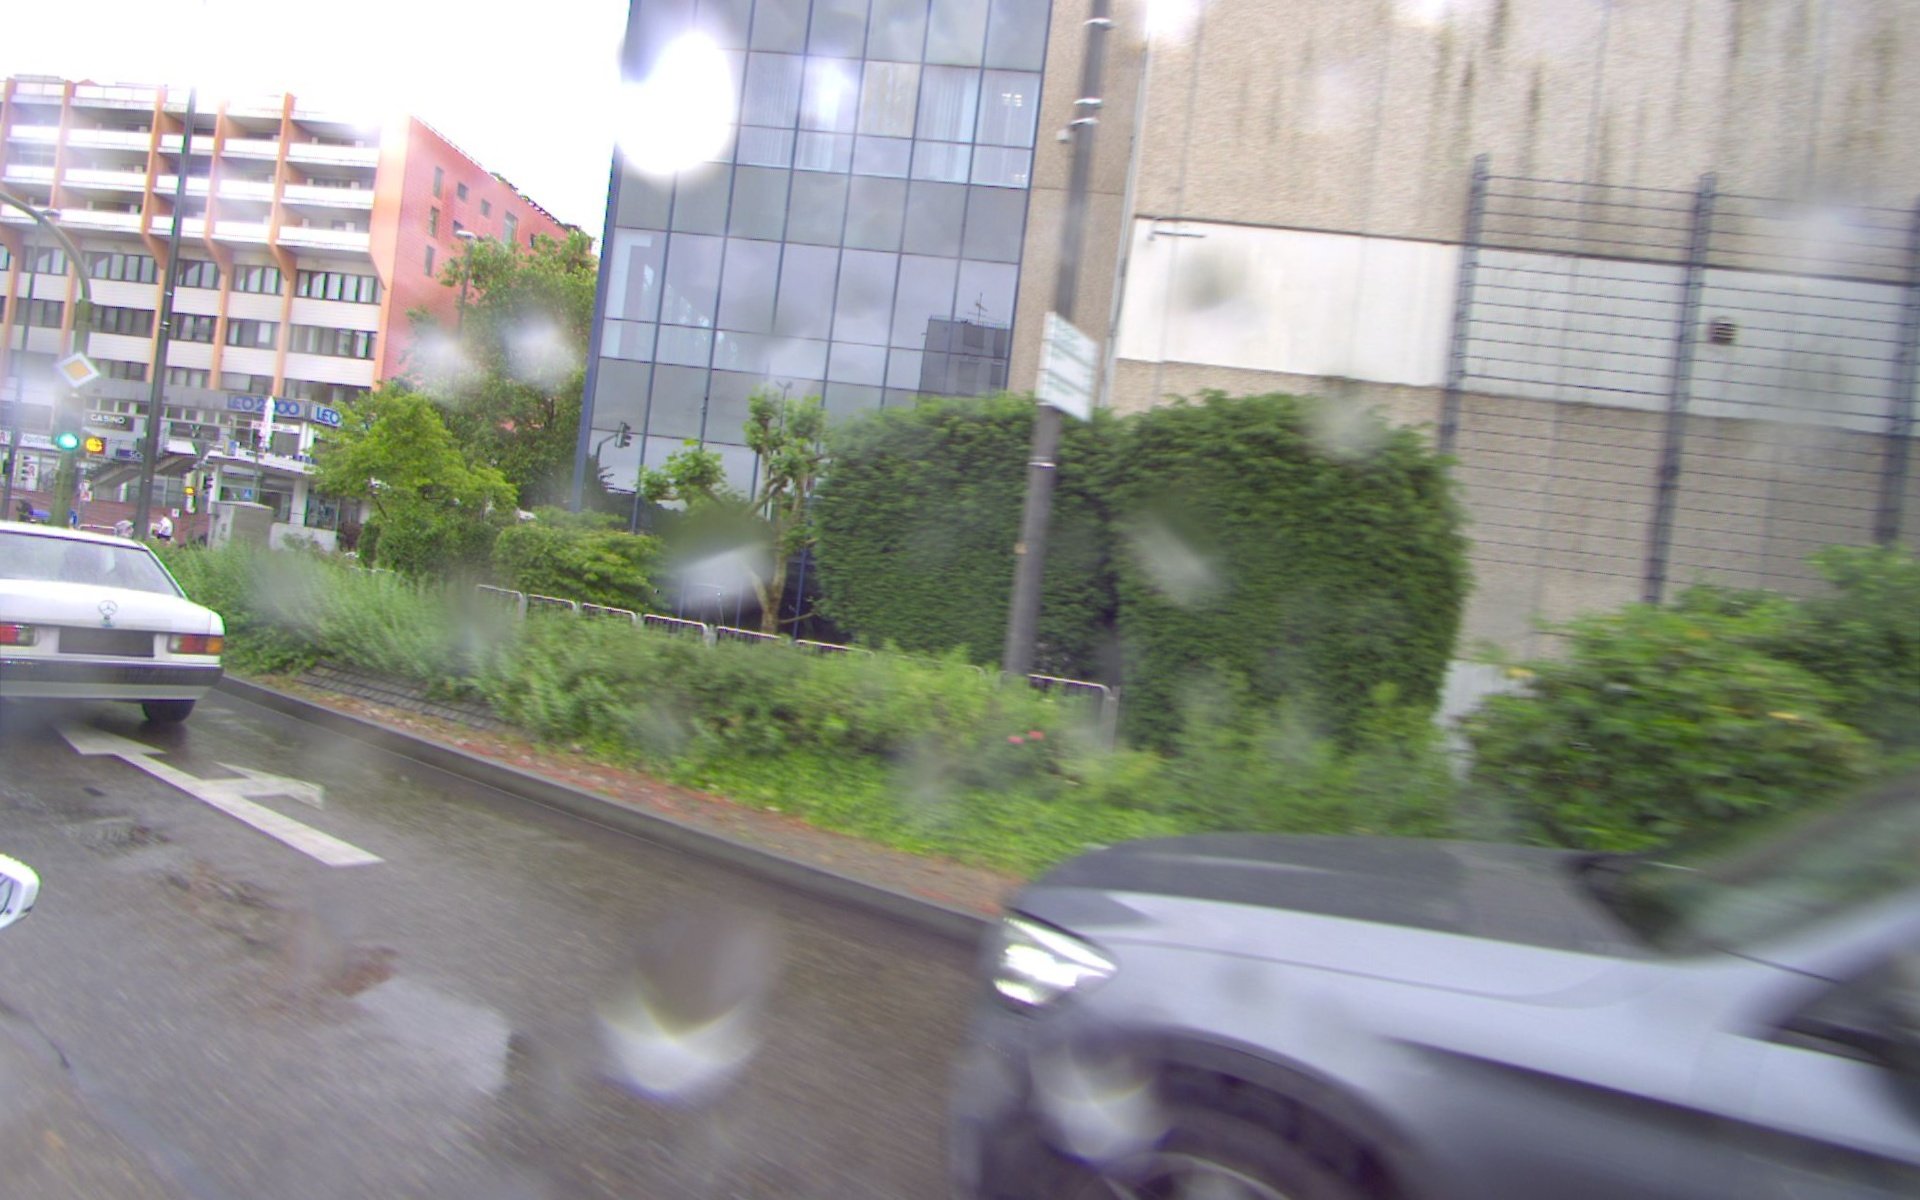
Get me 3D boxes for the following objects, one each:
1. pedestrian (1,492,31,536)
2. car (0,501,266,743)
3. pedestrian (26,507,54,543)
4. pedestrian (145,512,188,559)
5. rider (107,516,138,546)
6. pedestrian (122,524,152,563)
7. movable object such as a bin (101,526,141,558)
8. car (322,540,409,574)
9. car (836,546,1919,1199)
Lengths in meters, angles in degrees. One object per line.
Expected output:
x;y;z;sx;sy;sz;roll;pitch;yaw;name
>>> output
-37.415;-3.395;39.866;0.647;1.626;0.706;6;-1;44;pedestrian
-7.270;0.039;7.710;4.200;1.464;1.637;5;-3;33;car
-37.526;-3.043;41.044;0.647;1.362;0.706;6;0;43;pedestrian
-31.584;-2.563;40.042;1.109;1.711;0.830;6;0;28;pedestrian
-40.323;-3.309;48.410;1.074;1.302;0.920;8;3;39;rider
-38.440;-2.632;46.988;0.917;1.689;0.794;6;0;38;pedestrian
-40.360;-2.798;48.417;1.434;1.347;1.129;1;-4;39;movable object such as a bin
-32.977;-2.338;55.964;1.778;1.423;4.791;5;-1;3;car
2.098;0.996;1.874;4.262;1.640;1.905;7;-2;30;car
